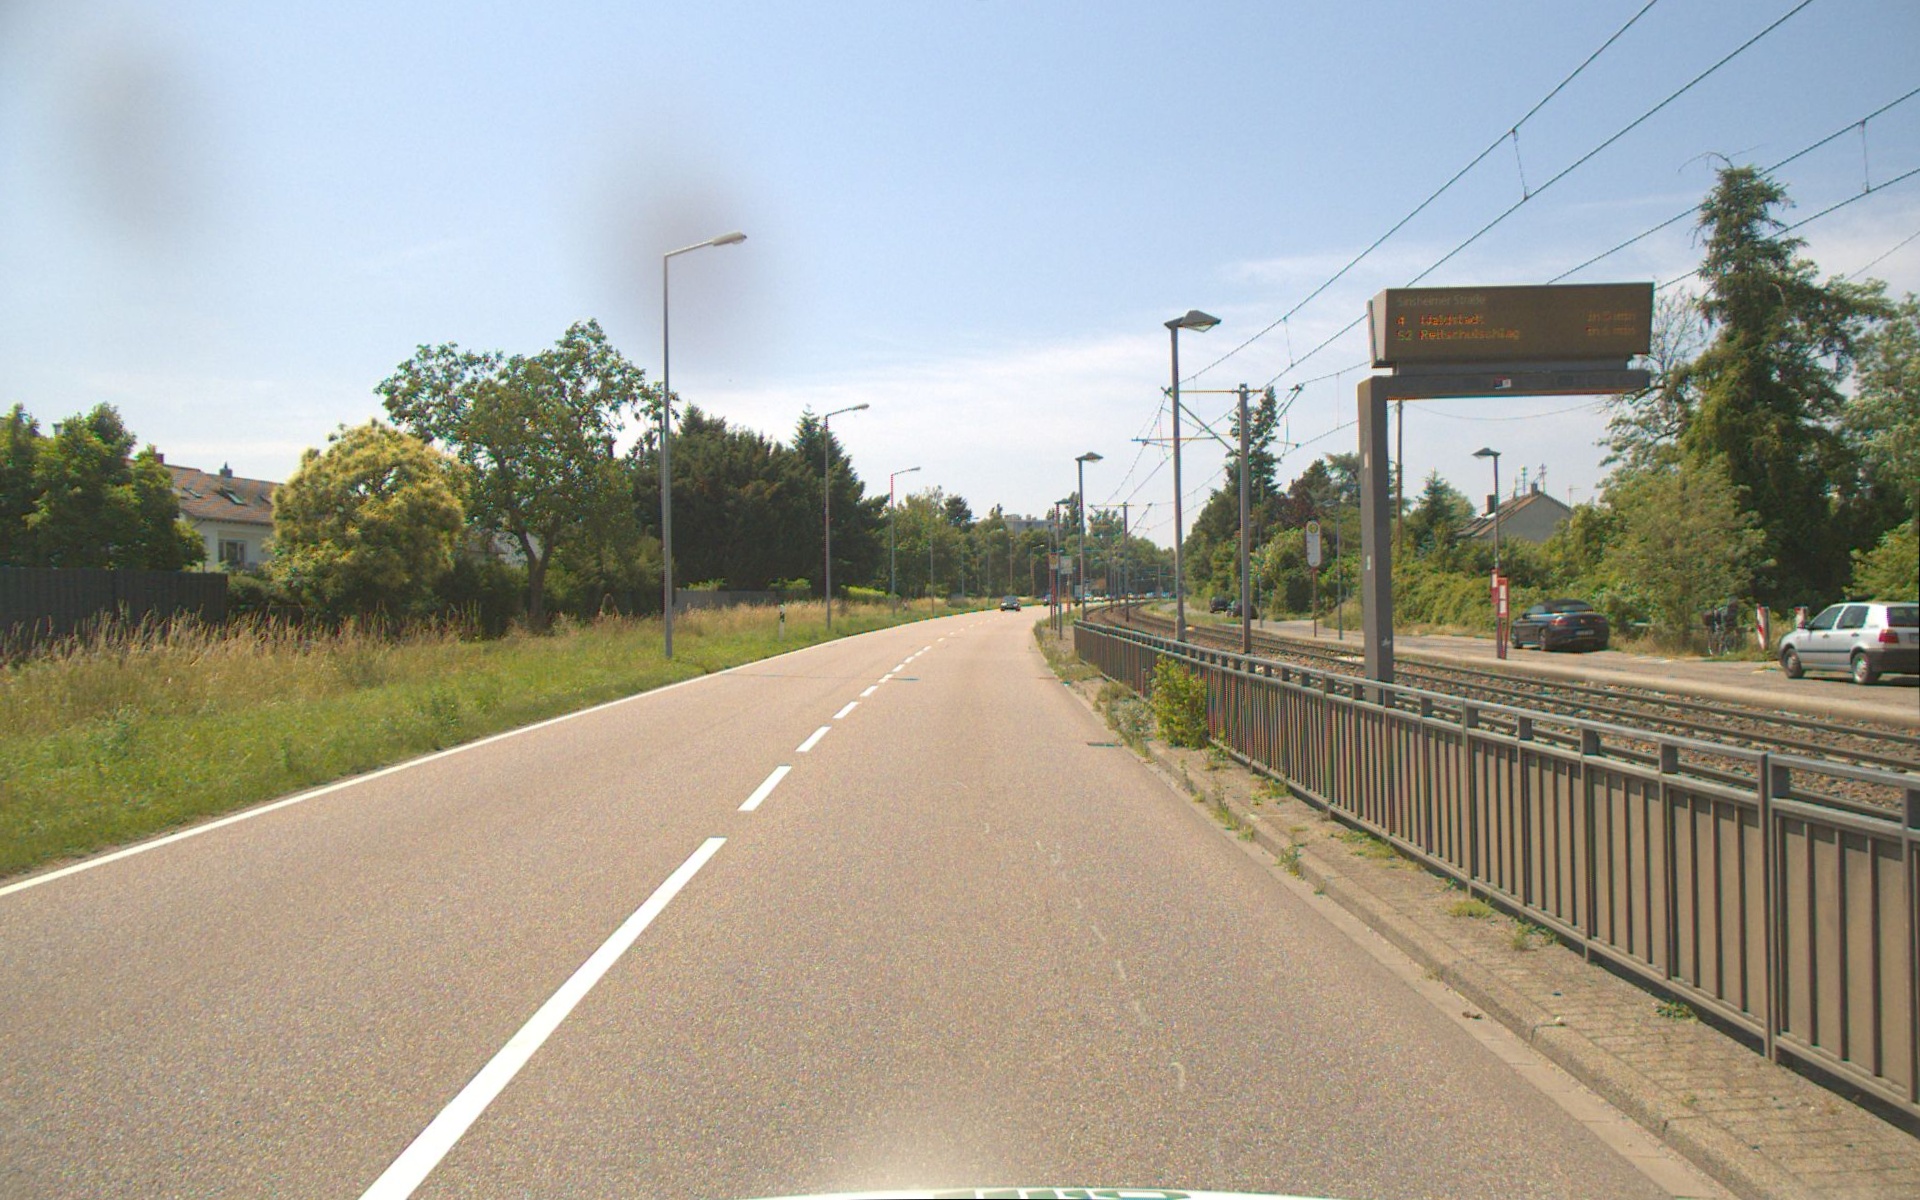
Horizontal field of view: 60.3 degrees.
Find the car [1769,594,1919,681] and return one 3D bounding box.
[{"bbox_3d":[16.444,0.635,29.717,1.899,1.447,4.000,0,0,1],"label":"car"}]

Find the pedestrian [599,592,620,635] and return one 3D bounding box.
[{"bbox_3d":[-12.461,0.484,58.794,0.596,1.503,0.633,0,0,3],"label":"pedestrian"}]

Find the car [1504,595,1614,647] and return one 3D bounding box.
[{"bbox_3d":[17.461,0.587,48.474,1.586,1.447,4.874,0,0,2],"label":"car"}]

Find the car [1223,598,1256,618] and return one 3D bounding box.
[{"bbox_3d":[20.007,0.562,118.502,1.822,1.353,4.516,0,0,2],"label":"car"}]

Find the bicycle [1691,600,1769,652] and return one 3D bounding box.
[{"bbox_3d":[19.450,0.651,41.818,0.695,1.291,1.661,-1,0,-33],"label":"bicycle"}]

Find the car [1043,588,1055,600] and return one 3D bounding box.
[{"bbox_3d":[12.550,-0.872,233.383,1.710,1.660,4.032,0,0,4],"label":"car"}]

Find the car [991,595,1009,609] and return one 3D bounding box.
[{"bbox_3d":[4.022,0.222,165.231,1.670,1.429,4.709,0,0,3],"label":"car"}]

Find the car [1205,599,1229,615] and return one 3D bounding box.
[{"bbox_3d":[23.477,0.637,151.260,1.873,1.496,4.002,0,0,5],"label":"car"}]
